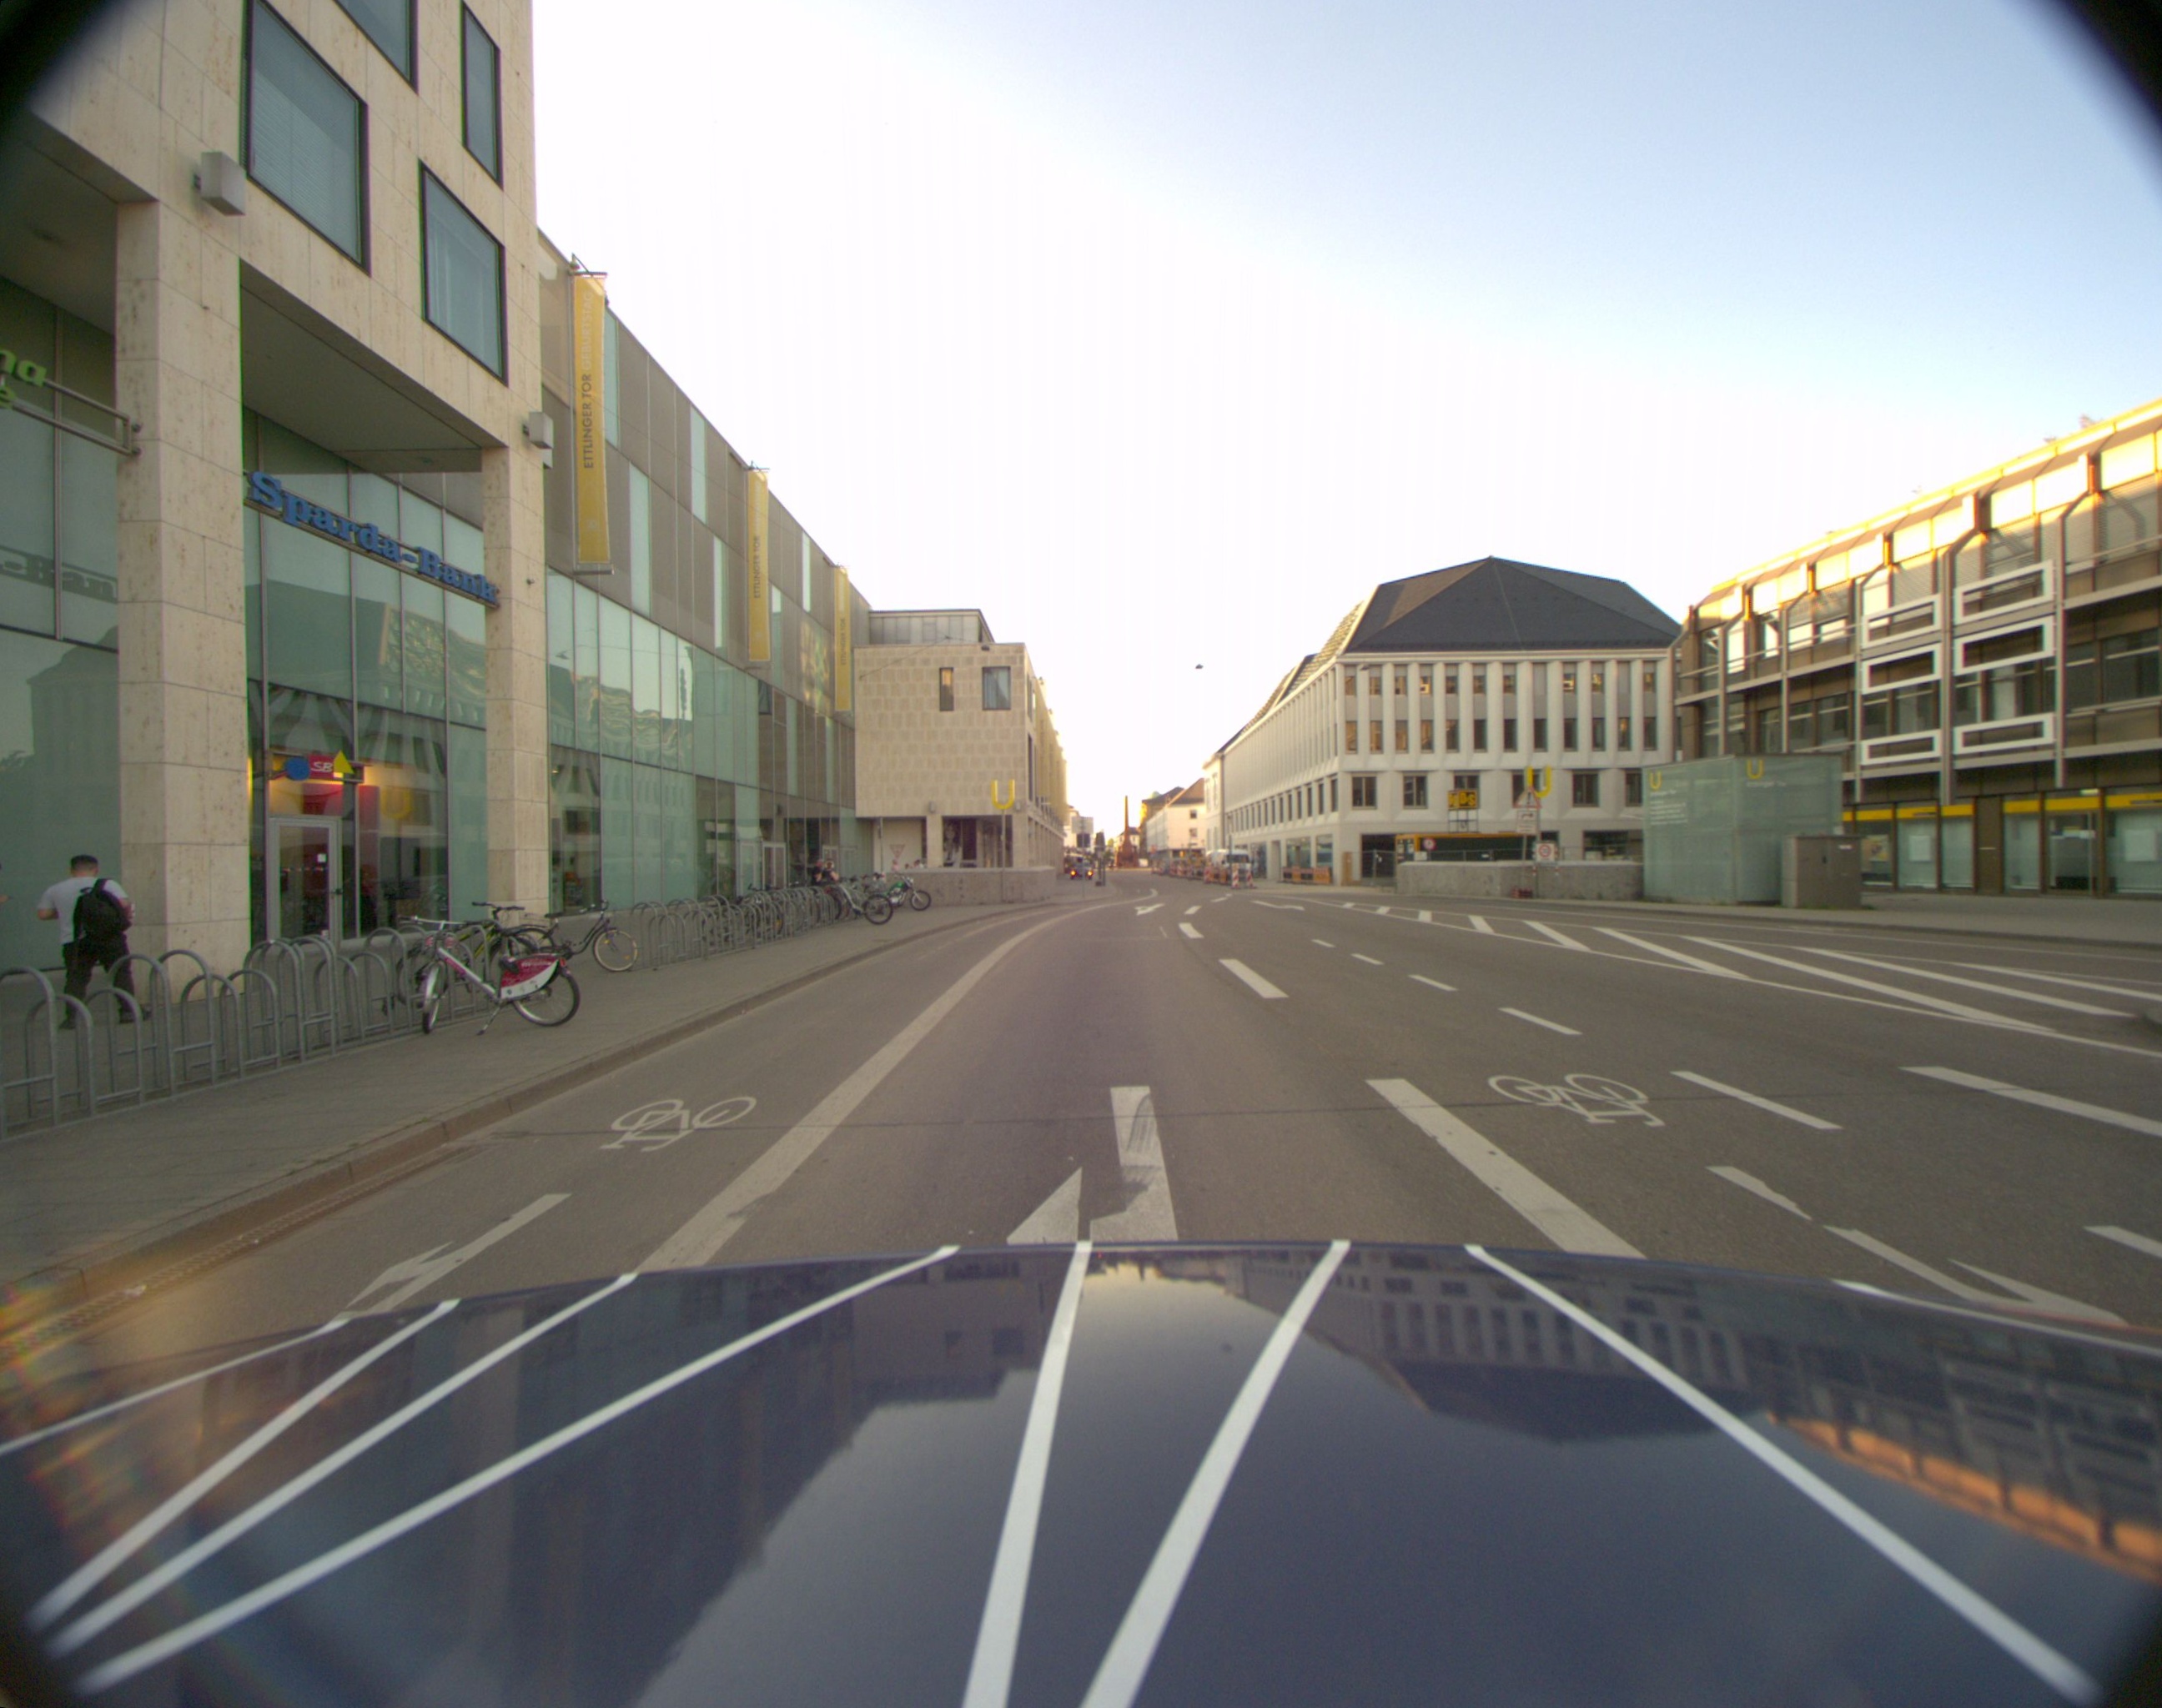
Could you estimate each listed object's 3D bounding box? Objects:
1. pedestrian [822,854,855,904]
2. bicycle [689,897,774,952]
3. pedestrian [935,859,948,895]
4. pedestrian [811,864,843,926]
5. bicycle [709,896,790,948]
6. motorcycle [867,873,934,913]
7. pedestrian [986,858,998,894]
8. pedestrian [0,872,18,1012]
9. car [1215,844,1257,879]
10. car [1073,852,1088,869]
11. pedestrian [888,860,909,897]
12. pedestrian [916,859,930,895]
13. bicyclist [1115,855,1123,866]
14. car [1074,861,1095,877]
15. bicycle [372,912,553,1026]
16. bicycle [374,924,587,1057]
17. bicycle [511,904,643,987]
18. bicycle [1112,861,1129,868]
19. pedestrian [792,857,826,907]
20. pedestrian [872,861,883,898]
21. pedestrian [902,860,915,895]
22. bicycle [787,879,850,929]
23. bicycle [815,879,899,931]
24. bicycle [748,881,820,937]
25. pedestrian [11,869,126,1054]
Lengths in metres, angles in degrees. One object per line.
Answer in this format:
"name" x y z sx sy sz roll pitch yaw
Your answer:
"pedestrian" -8.284 0.847 25.967 0.822 1.686 0.696 -1 0 -45
"bicycle" -6.655 1.340 14.501 1.345 0.927 0.518 -3 0 -1
"pedestrian" -6.827 1.133 37.084 0.504 1.733 0.493 -1 0 3
"pedestrian" -6.869 1.091 20.565 0.809 1.633 0.646 -1 0 -18
"bicycle" -6.596 1.349 15.147 1.345 0.927 0.518 -3 0 -1
"motorcycle" -5.710 1.239 24.082 2.007 1.217 0.480 -1 0 -2
"pedestrian" -4.285 1.050 36.489 0.454 1.733 0.493 -1 0 3
"pedestrian" -12.988 1.032 8.701 0.629 1.642 0.708 -1 0 2
"car" 11.986 0.592 59.161 2.141 2.540 6.050 -1 0 1
"car" -0.066 0.868 100.036 1.798 2.198 3.671 -1 0 2
"pedestrian" -8.642 1.145 35.993 0.793 1.733 0.657 -1 0 3
"pedestrian" -7.616 1.099 36.573 0.494 1.733 0.657 -1 0 3
"bicyclist" 5.448 0.973 107.916 0.975 1.544 0.974 -1 0 9
"car" 0.338 1.299 67.878 1.798 1.365 3.671 -1 0 2
"bicycle" -6.798 1.254 8.390 1.518 1.117 0.581 -3 0 4
"bicycle" -5.398 1.214 6.864 1.518 1.057 0.466 -3 0 1
"bicycle" -7.303 1.310 11.070 1.447 1.058 0.580 -3 0 -10
"bicycle" 5.562 1.516 107.894 2.371 1.052 0.730 -1 0 8
"pedestrian" -9.169 0.923 25.647 0.738 1.638 0.822 0 0 45
"pedestrian" -9.616 1.196 35.903 0.364 1.733 0.452 -1 0 3
"pedestrian" -8.496 1.164 37.483 0.494 1.733 0.549 -1 0 3
"bicycle" -6.603 1.261 19.161 1.345 1.157 0.518 -3 0 -1
"bicycle" -5.389 1.215 18.317 1.838 1.140 0.466 -3 0 1
"bicycle" -6.659 1.234 17.075 1.345 1.157 0.518 -3 0 -1
"pedestrian" -9.805 0.990 7.386 0.706 1.682 0.631 0 0 39
